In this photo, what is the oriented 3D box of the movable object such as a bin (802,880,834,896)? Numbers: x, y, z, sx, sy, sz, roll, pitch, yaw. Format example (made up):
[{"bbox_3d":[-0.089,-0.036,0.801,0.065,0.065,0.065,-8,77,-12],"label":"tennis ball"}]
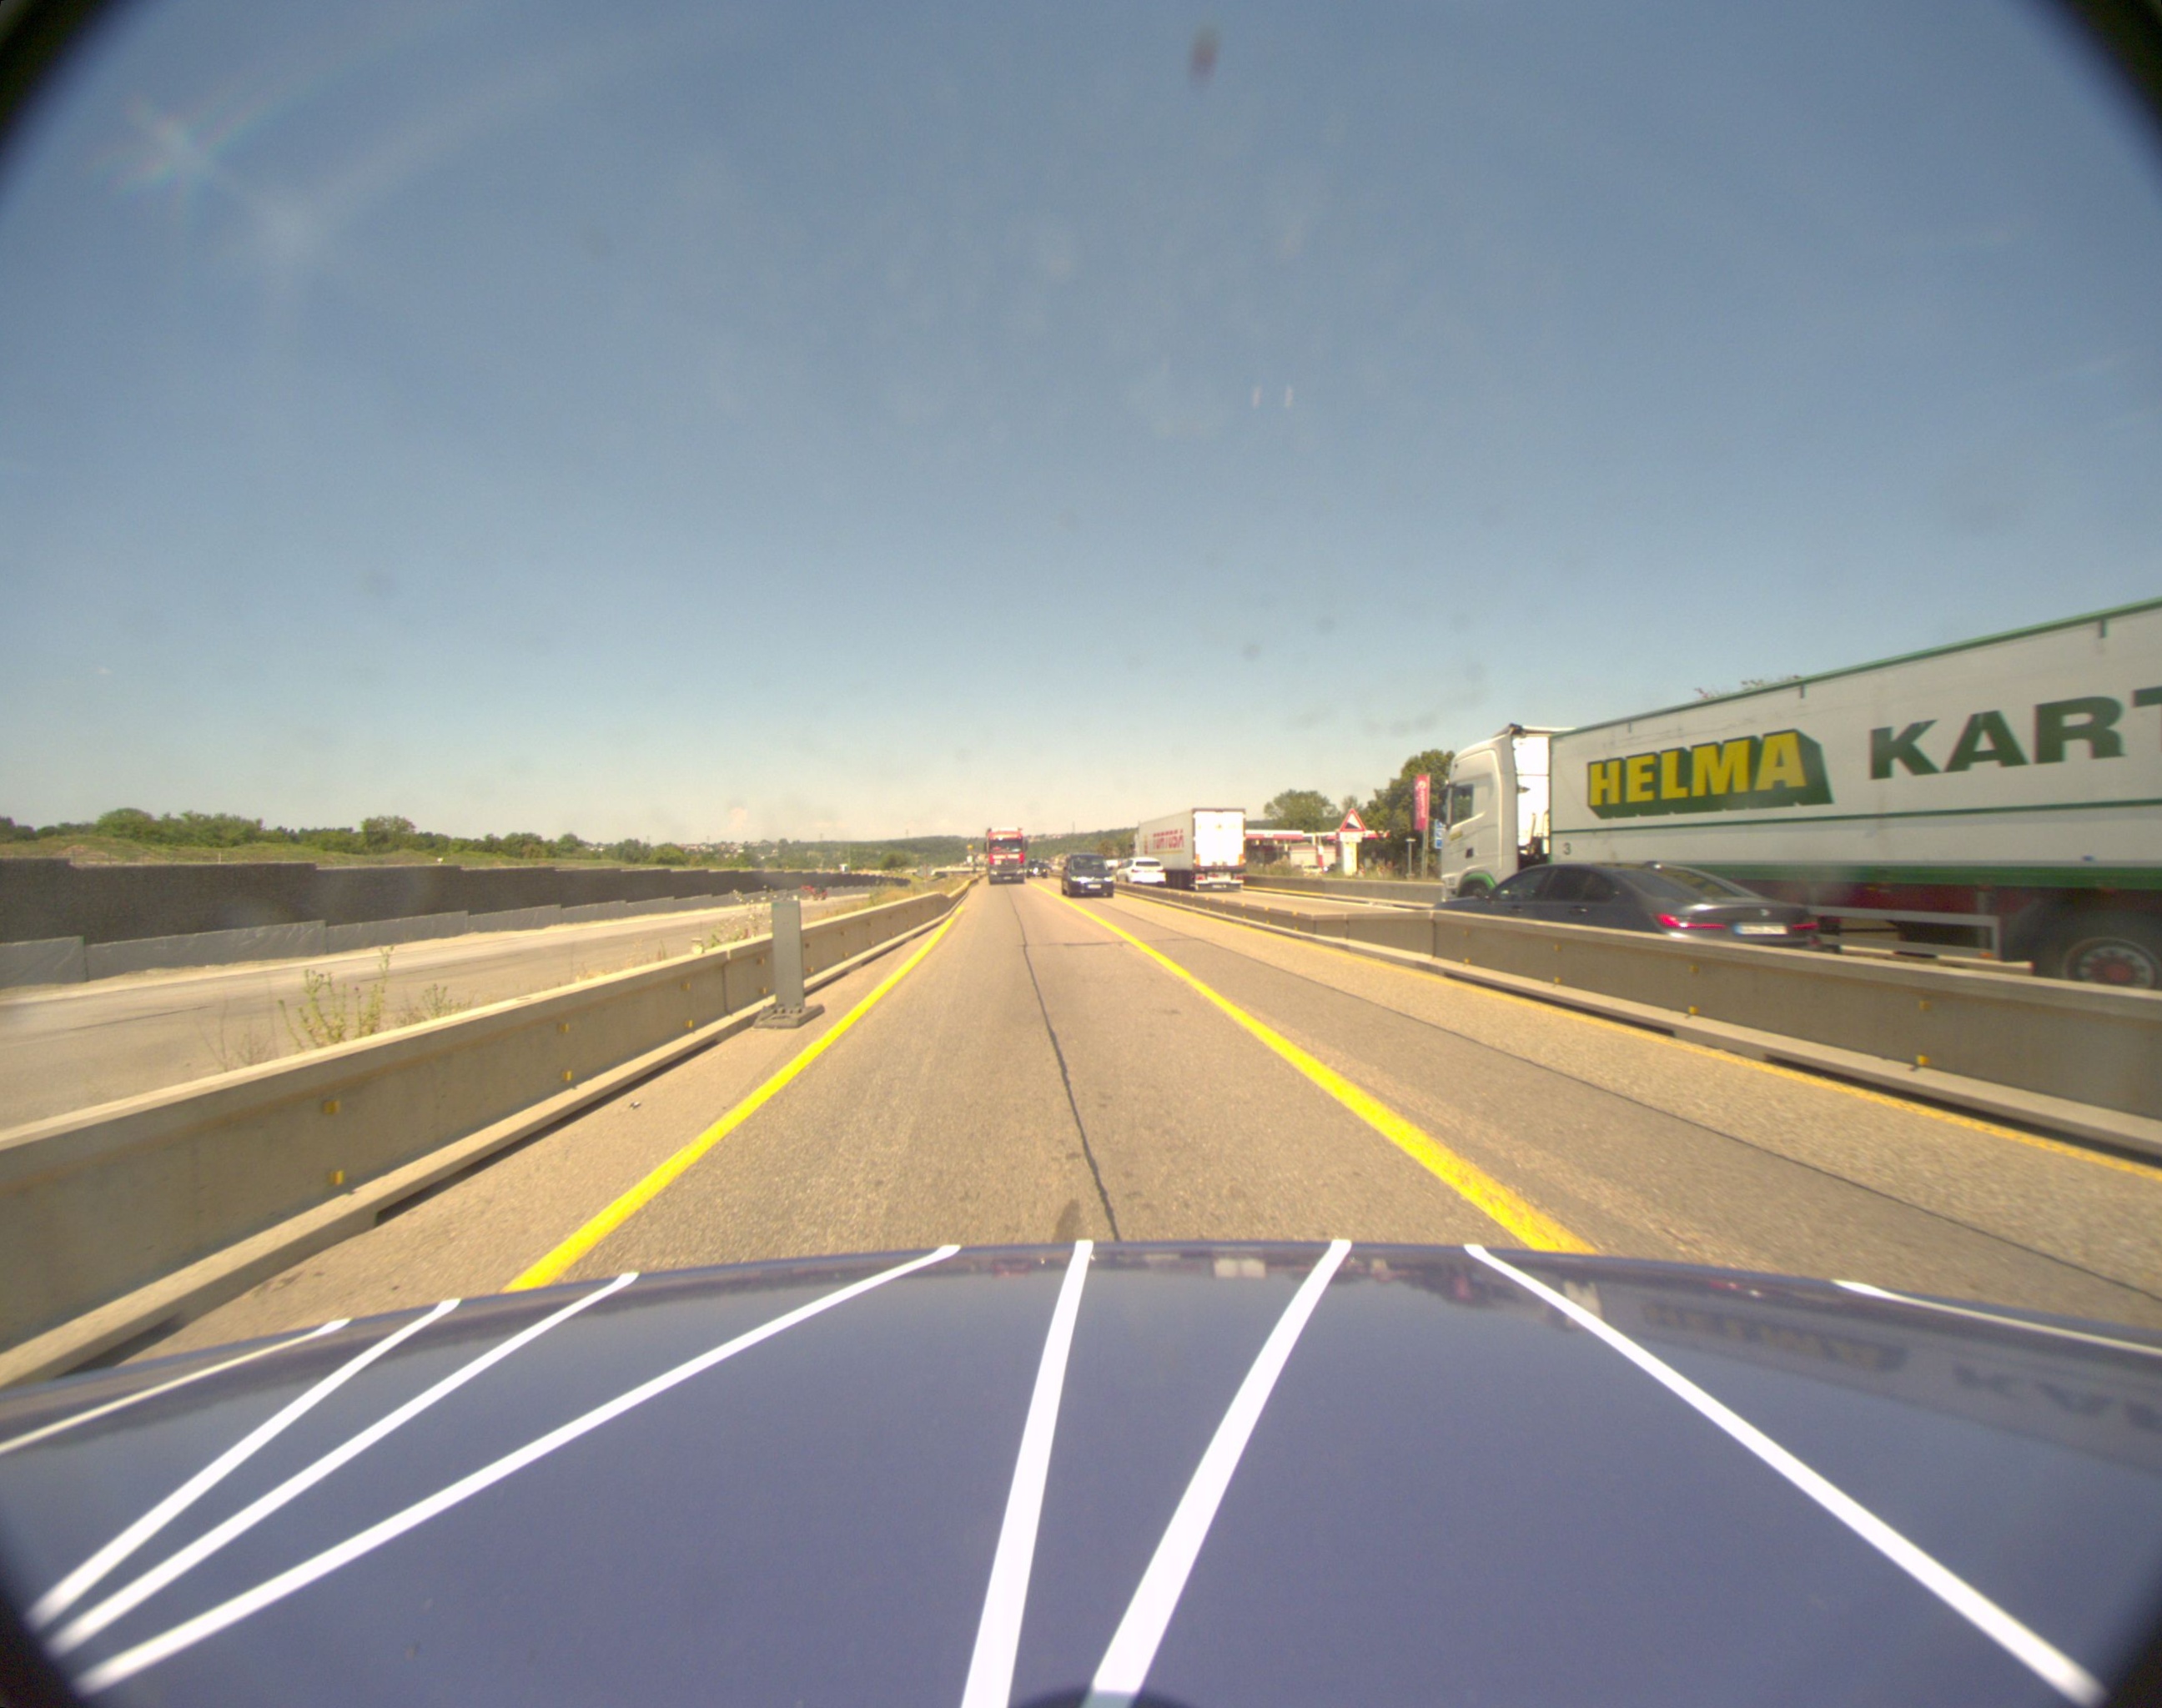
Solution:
[{"bbox_3d":[-40.134,5.178,115.925,4.140,2.135,1.758,-2,1,-33],"label":"movable object such as a bin"}]

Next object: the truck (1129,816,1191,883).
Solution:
[{"bbox_3d":[5.101,-0.312,50.181,2.839,4.107,5.454,-2,0,-7],"label":"truck"}]

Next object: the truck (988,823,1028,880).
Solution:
[{"bbox_3d":[-5.177,-0.172,54.414,2.628,3.880,4.931,-2,0,-5],"label":"truck"}]

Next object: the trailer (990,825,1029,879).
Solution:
[{"bbox_3d":[-5.607,-0.164,60.717,2.702,3.852,12.417,-2,0,-4],"label":"trailer"}]

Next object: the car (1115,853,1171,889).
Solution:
[{"bbox_3d":[3.113,0.823,39.260,2.000,1.729,4.490,0,0,-7],"label":"car"}]

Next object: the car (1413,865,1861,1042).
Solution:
[{"bbox_3d":[6.060,0.925,9.145,1.759,1.469,4.534,-2,0,-6],"label":"car"}]

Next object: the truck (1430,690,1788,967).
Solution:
[{"bbox_3d":[8.899,-0.393,13.587,2.456,3.985,5.074,-2,0,-7],"label":"truck"}]

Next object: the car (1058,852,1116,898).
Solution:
[{"bbox_3d":[0.172,0.832,31.865,1.927,1.779,4.600,0,0,-6],"label":"car"}]

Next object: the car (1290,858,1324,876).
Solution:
[{"bbox_3d":[18.259,1.048,61.441,1.456,1.368,3.405,-2,0,-6],"label":"car"}]

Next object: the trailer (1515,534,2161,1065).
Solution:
[{"bbox_3d":[9.469,-0.444,7.308,2.360,4.128,12.491,-2,0,-6],"label":"trailer"}]

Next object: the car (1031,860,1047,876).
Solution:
[{"bbox_3d":[-4.110,1.358,73.930,1.428,1.477,3.413,-2,0,-6],"label":"car"}]

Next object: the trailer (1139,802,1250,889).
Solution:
[{"bbox_3d":[5.974,-0.342,42.979,2.824,4.070,13.116,-2,0,-6],"label":"trailer"}]
